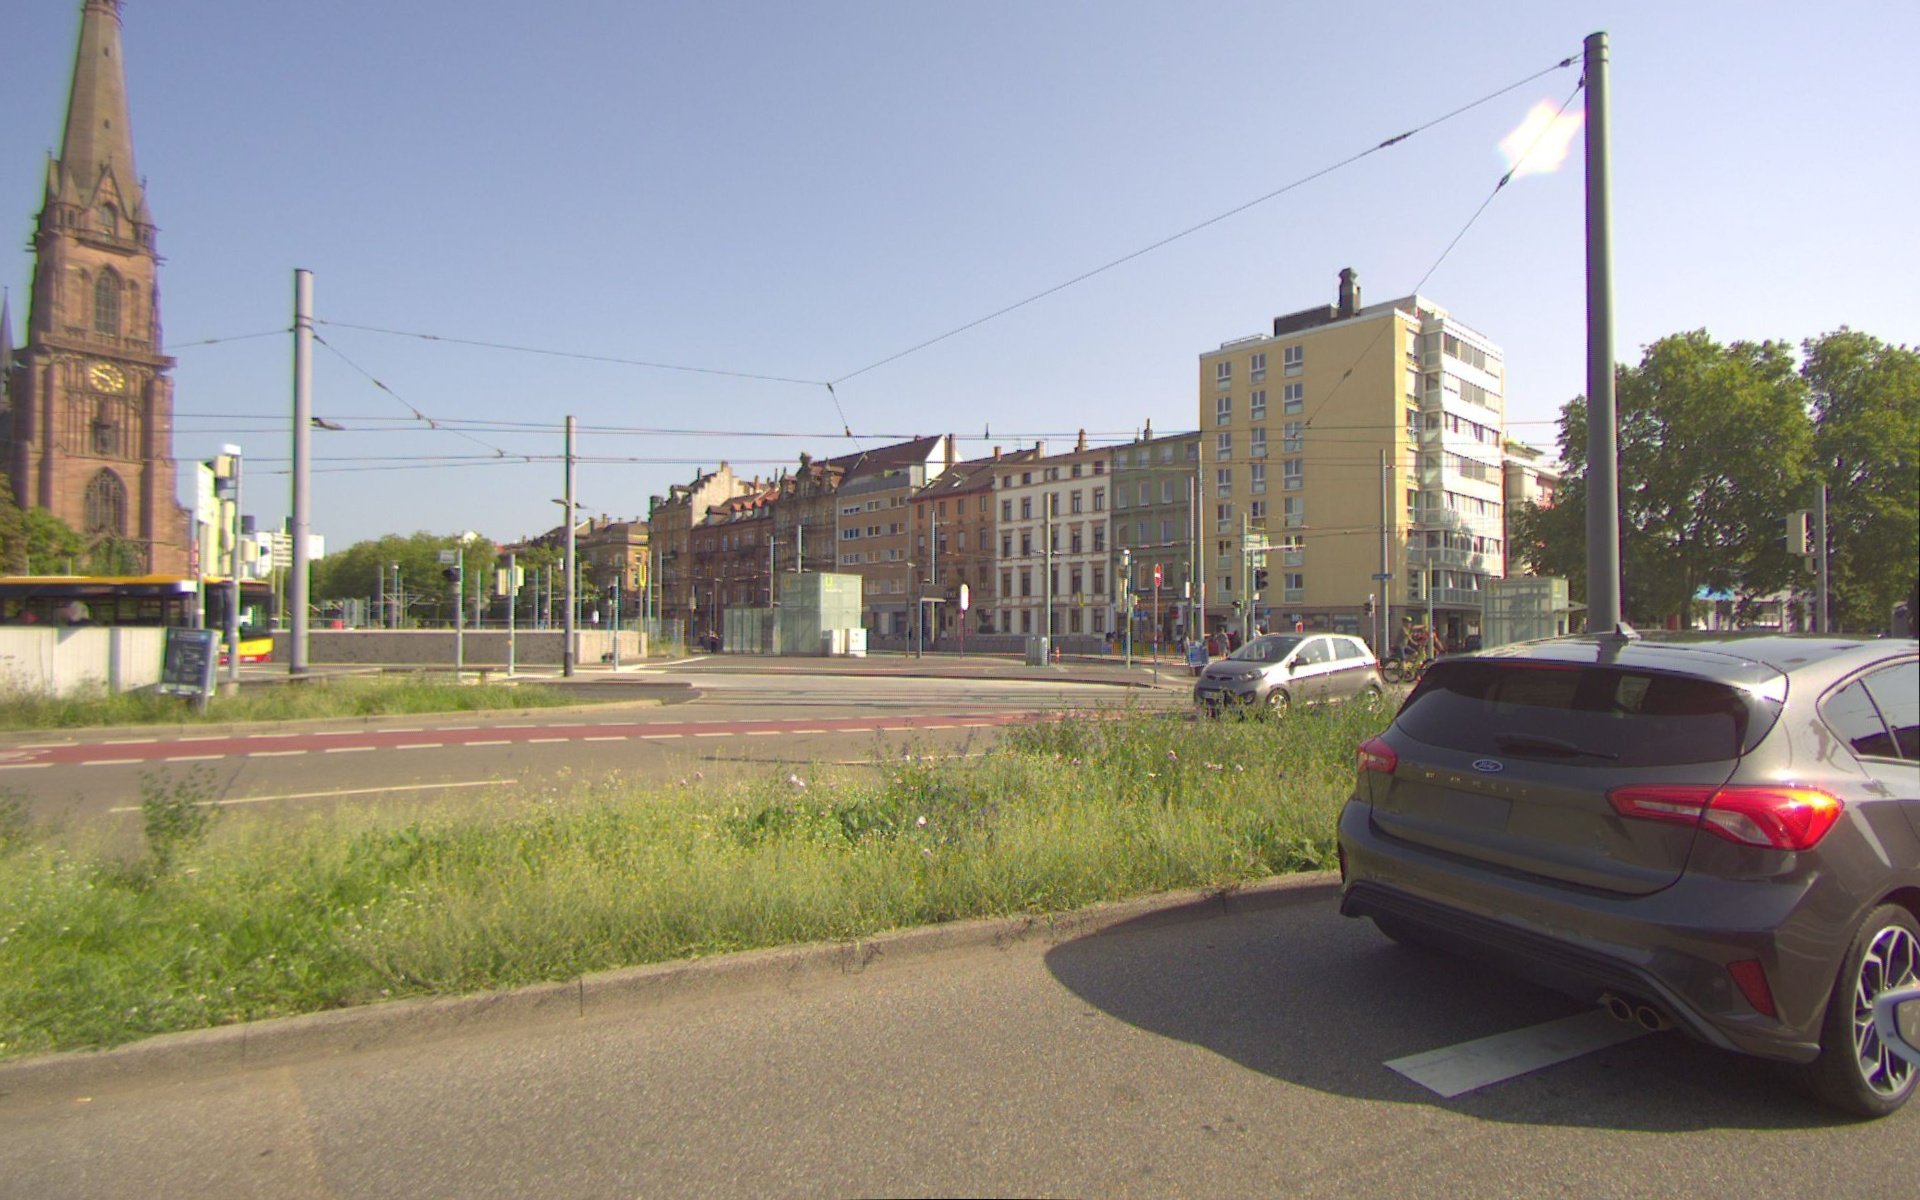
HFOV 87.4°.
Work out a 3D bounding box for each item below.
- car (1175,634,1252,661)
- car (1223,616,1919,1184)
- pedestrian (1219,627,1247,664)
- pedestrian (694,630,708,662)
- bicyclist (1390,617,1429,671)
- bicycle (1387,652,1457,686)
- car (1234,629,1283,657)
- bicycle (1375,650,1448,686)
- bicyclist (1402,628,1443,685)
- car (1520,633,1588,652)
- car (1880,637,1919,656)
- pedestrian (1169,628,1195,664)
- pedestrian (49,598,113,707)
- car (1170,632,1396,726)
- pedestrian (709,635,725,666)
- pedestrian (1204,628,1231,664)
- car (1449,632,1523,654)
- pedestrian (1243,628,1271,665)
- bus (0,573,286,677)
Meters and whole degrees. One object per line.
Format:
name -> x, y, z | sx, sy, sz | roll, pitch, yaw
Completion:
car -> 15.420, 2.869, 61.256 | 1.814, 1.555, 4.366 | 1, -2, -37
car -> 3.509, 0.833, 4.417 | 4.491, 1.454, 1.826 | 1, -1, -27
pedestrian -> 12.956, 2.140, 47.678 | 0.916, 1.712, 0.913 | 2, -2, -44
pedestrian -> -15.122, 2.681, 58.595 | 0.645, 1.891, 0.716 | 1, -2, -30
bicyclist -> 13.024, 1.263, 29.107 | 0.719, 1.547, 0.788 | 1, -2, -38
bicycle -> 13.831, 2.061, 30.096 | 0.719, 0.944, 1.799 | 1, -2, -37
car -> 19.095, 2.714, 64.398 | 1.960, 1.701, 4.552 | 1, -1, 2
bicycle -> 13.042, 1.949, 29.064 | 0.719, 0.944, 1.799 | 1, -2, -37
bicyclist -> 13.853, 1.685, 30.069 | 0.719, 1.674, 0.875 | 1, -2, -37
car -> 44.537, 3.182, 75.346 | 1.568, 1.372, 4.115 | 2, -2, -44
car -> 80.877, 3.936, 84.896 | 4.423, 1.542, 1.706 | 0, -1, 5
pedestrian -> 10.834, 2.237, 49.049 | 0.916, 1.712, 0.913 | 2, -2, -44
pedestrian -> -15.181, 0.893, 17.370 | 0.694, 1.824, 0.773 | 1, -2, -34
car -> 5.660, 1.310, 17.549 | 3.633, 1.471, 1.879 | 1, -2, -31
pedestrian -> -14.287, 2.955, 59.107 | 0.743, 1.806, 0.702 | 1, -2, -30
pedestrian -> 12.473, 2.238, 48.688 | 0.916, 1.712, 0.913 | 2, -2, -44
car -> 34.918, 2.855, 66.784 | 1.472, 1.372, 4.115 | 2, -2, -44
pedestrian -> 13.757, 2.146, 46.519 | 0.916, 1.712, 0.913 | 2, -2, -44
bus -> -28.474, 0.793, 32.185 | 11.971, 3.149, 2.717 | 0, -2, 1
